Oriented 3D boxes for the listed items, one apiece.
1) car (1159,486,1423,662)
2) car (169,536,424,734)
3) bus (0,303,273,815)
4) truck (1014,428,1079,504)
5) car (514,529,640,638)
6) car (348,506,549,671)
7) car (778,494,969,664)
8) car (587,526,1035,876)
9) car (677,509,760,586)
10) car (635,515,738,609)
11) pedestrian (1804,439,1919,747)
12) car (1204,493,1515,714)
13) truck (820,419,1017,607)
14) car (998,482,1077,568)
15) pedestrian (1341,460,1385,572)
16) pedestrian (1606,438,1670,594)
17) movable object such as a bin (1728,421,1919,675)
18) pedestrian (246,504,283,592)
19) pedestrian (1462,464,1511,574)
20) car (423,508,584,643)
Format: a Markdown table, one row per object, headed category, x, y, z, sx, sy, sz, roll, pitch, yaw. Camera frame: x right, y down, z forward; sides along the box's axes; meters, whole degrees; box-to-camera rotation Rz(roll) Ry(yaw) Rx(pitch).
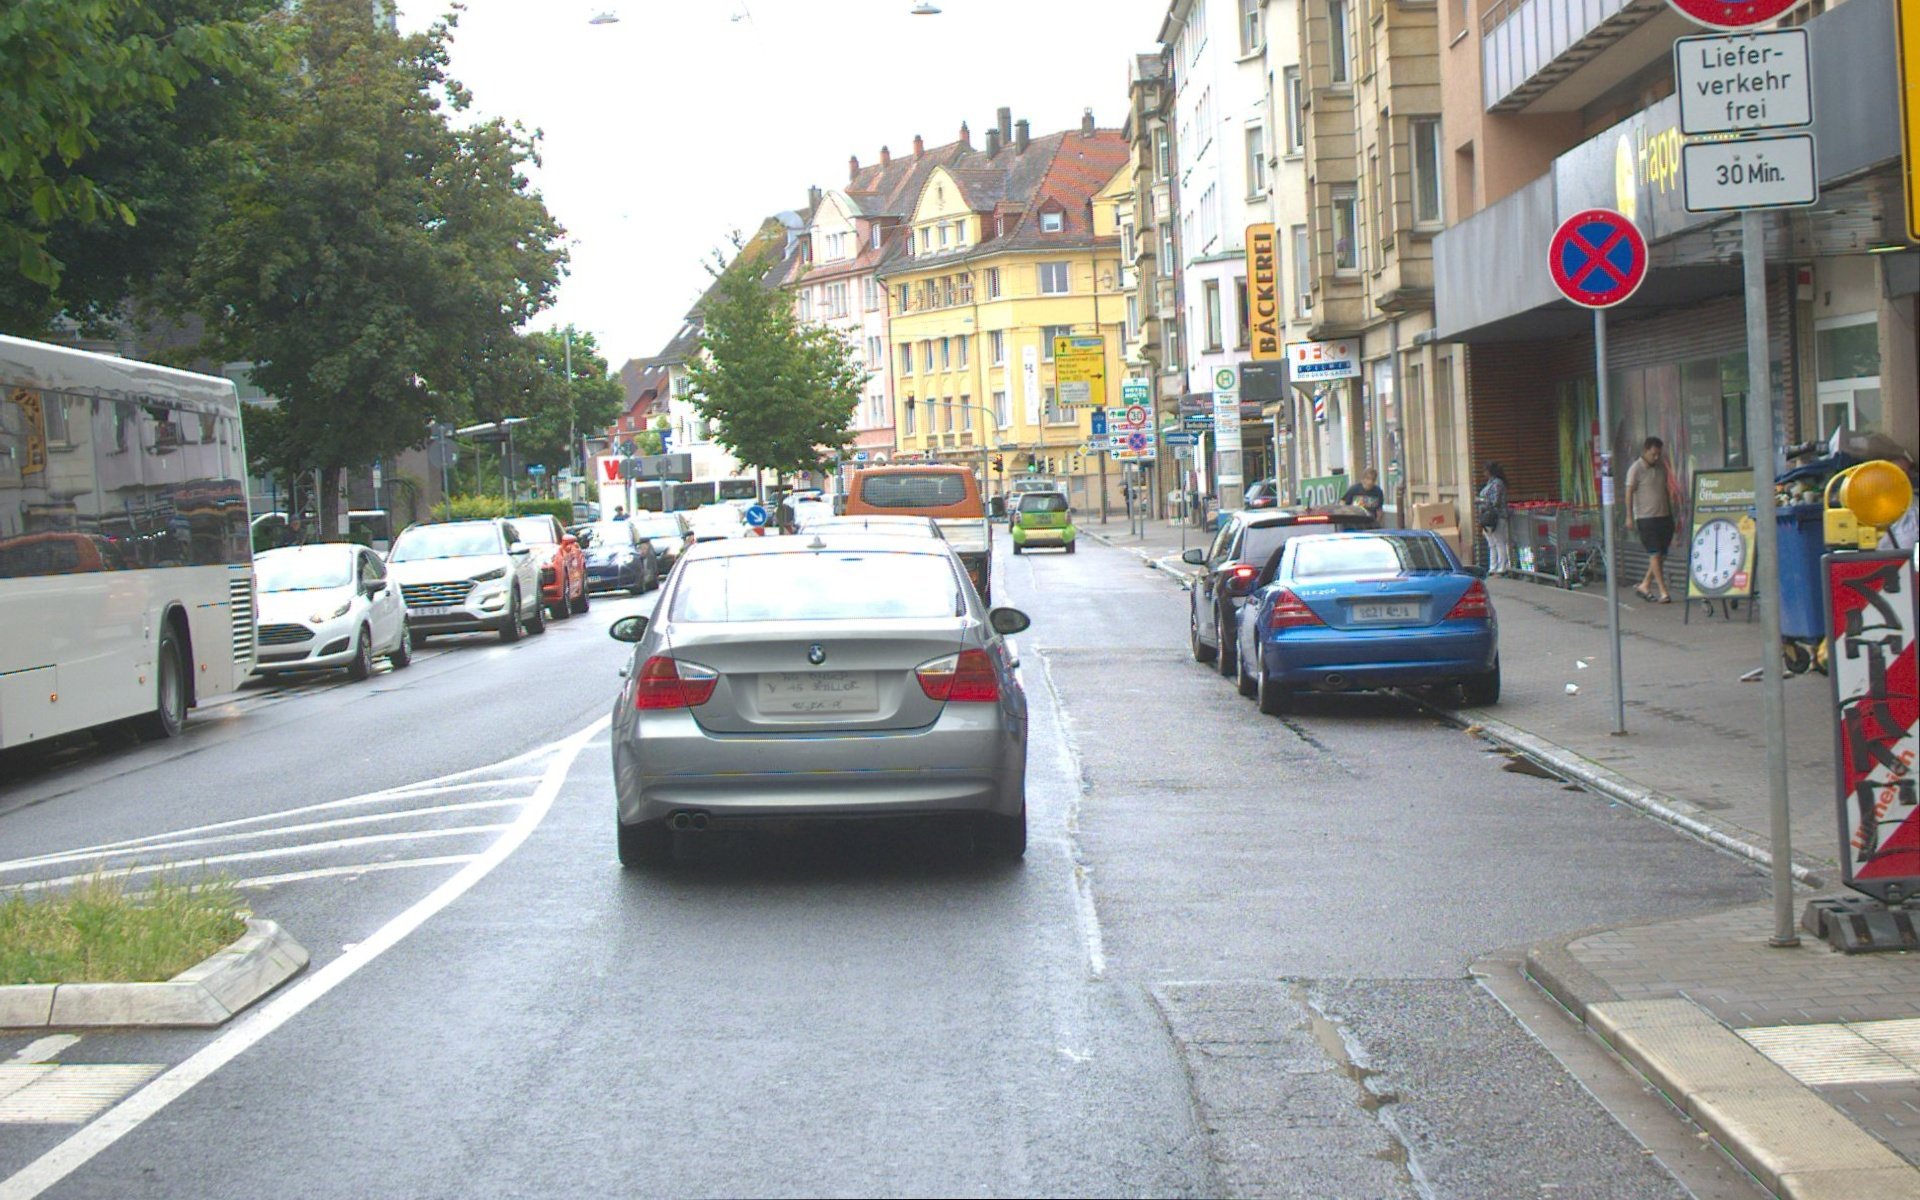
| category | x | y | z | sx | sy | sz | roll | pitch | yaw |
| --- | --- | --- | --- | --- | --- | --- | --- | --- | --- |
| car | 2.955 | -0.224 | 31.474 | 1.993 | 1.514 | 4.000 | 0 | 0 | -1 |
| car | -7.098 | 0.365 | 37.150 | 1.993 | 2.007 | 4.000 | 1 | 0 | -1 |
| bus | -7.346 | -0.248 | 24.225 | 2.681 | 3.190 | 11.956 | 1 | 0 | -1 |
| truck | 3.150 | -4.901 | 126.404 | 2.216 | 2.535 | 4.780 | 1 | 0 | 0 |
| car | -7.326 | -0.297 | 66.117 | 1.993 | 2.007 | 4.000 | 1 | 0 | -1 |
| car | -6.594 | -0.130 | 44.717 | 1.993 | 2.007 | 4.000 | 1 | 0 | -1 |
| car | -0.781 | -0.168 | 30.702 | 1.601 | 1.415 | 3.288 | 1 | 0 | -2 |
| car | -0.579 | 0.366 | 15.164 | 1.756 | 1.358 | 3.165 | -1 | 1 | 0 |
| car | -6.533 | -1.406 | 93.448 | 1.993 | 2.007 | 4.000 | 1 | 0 | -1 |
| car | -6.080 | -0.816 | 76.725 | 1.993 | 2.007 | 4.000 | 1 | 0 | -1 |
| pedestrian | 5.080 | -0.036 | 18.895 | 0.749 | 1.655 | 0.836 | 1 | 0 | 7 |
| car | 2.890 | -0.017 | 25.657 | 1.809 | 1.514 | 4.000 | 0 | 1 | 0 |
| truck | -0.547 | -1.016 | 42.028 | 2.215 | 2.109 | 4.652 | 2 | 0 | -2 |
| car | 1.888 | -1.832 | 84.877 | 1.705 | 2.007 | 4.000 | 1 | 0 | -2 |
| pedestrian | 5.143 | -1.067 | 43.837 | 0.522 | 1.416 | 0.430 | 1 | -1 | 10 |
| pedestrian | 7.336 | -0.901 | 37.220 | 0.615 | 1.655 | 0.754 | 1 | 0 | 7 |
| movable object such as a bin | 6.212 | -0.358 | 24.284 | 1.122 | 1.697 | 1.434 | -3 | 0 | -2 |
| pedestrian | -15.970 | -1.194 | 78.978 | 0.797 | 2.007 | 0.536 | 1 | -1 | -13 |
| pedestrian | 6.896 | -1.059 | 44.999 | 0.565 | 1.416 | 0.796 | 0 | 0 | 13 |
| car | -7.085 | -0.362 | 53.728 | 1.993 | 2.007 | 4.000 | 1 | 0 | -1 |
